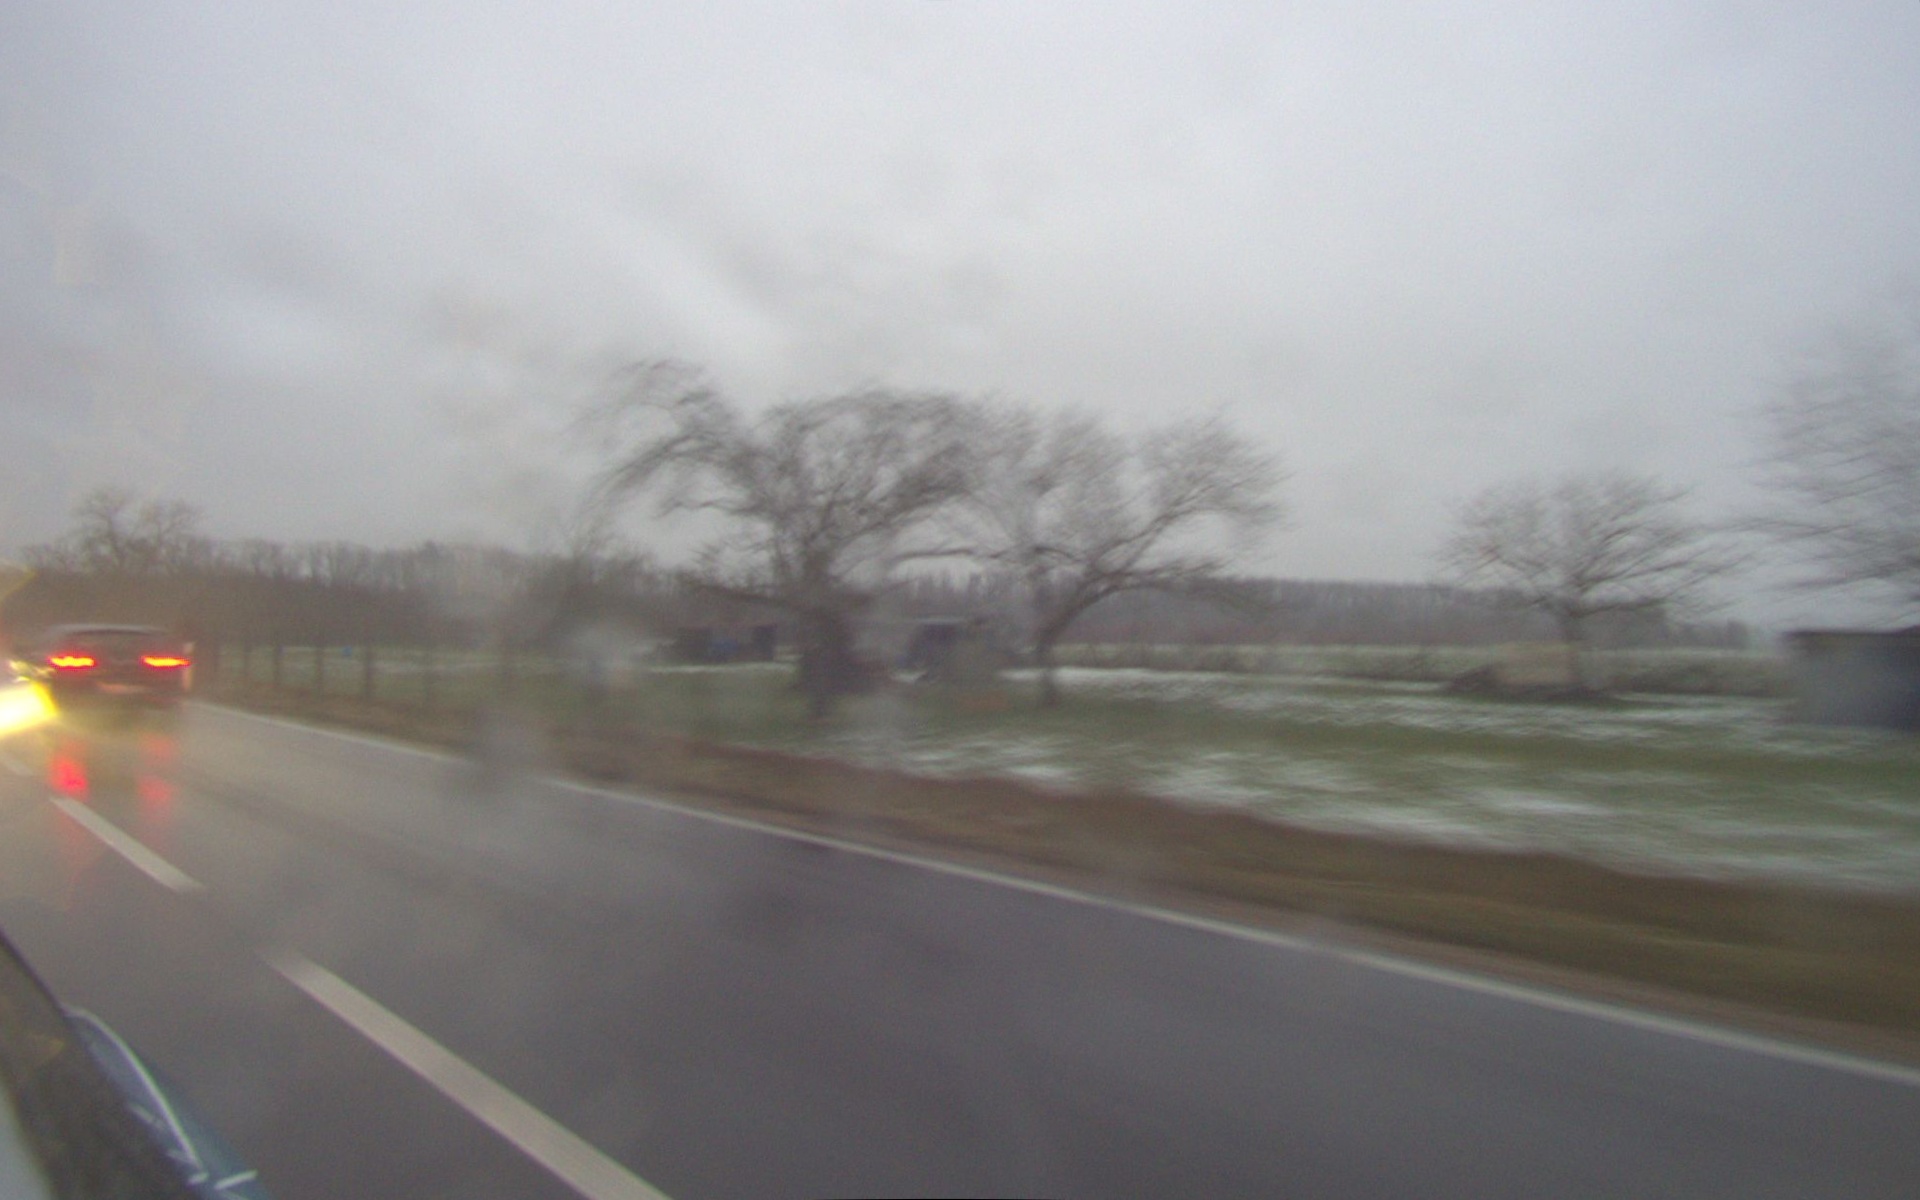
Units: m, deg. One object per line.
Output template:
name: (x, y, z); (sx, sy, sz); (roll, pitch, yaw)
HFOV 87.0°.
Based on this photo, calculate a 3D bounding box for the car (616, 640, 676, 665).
car: (-19.286, 3.231, 62.230); (1.591, 1.352, 3.421); (-1, 0, 27)

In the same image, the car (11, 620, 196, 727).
car: (-13.588, 1.083, 15.987); (3.772, 1.490, 1.670); (-1, -3, 42)
